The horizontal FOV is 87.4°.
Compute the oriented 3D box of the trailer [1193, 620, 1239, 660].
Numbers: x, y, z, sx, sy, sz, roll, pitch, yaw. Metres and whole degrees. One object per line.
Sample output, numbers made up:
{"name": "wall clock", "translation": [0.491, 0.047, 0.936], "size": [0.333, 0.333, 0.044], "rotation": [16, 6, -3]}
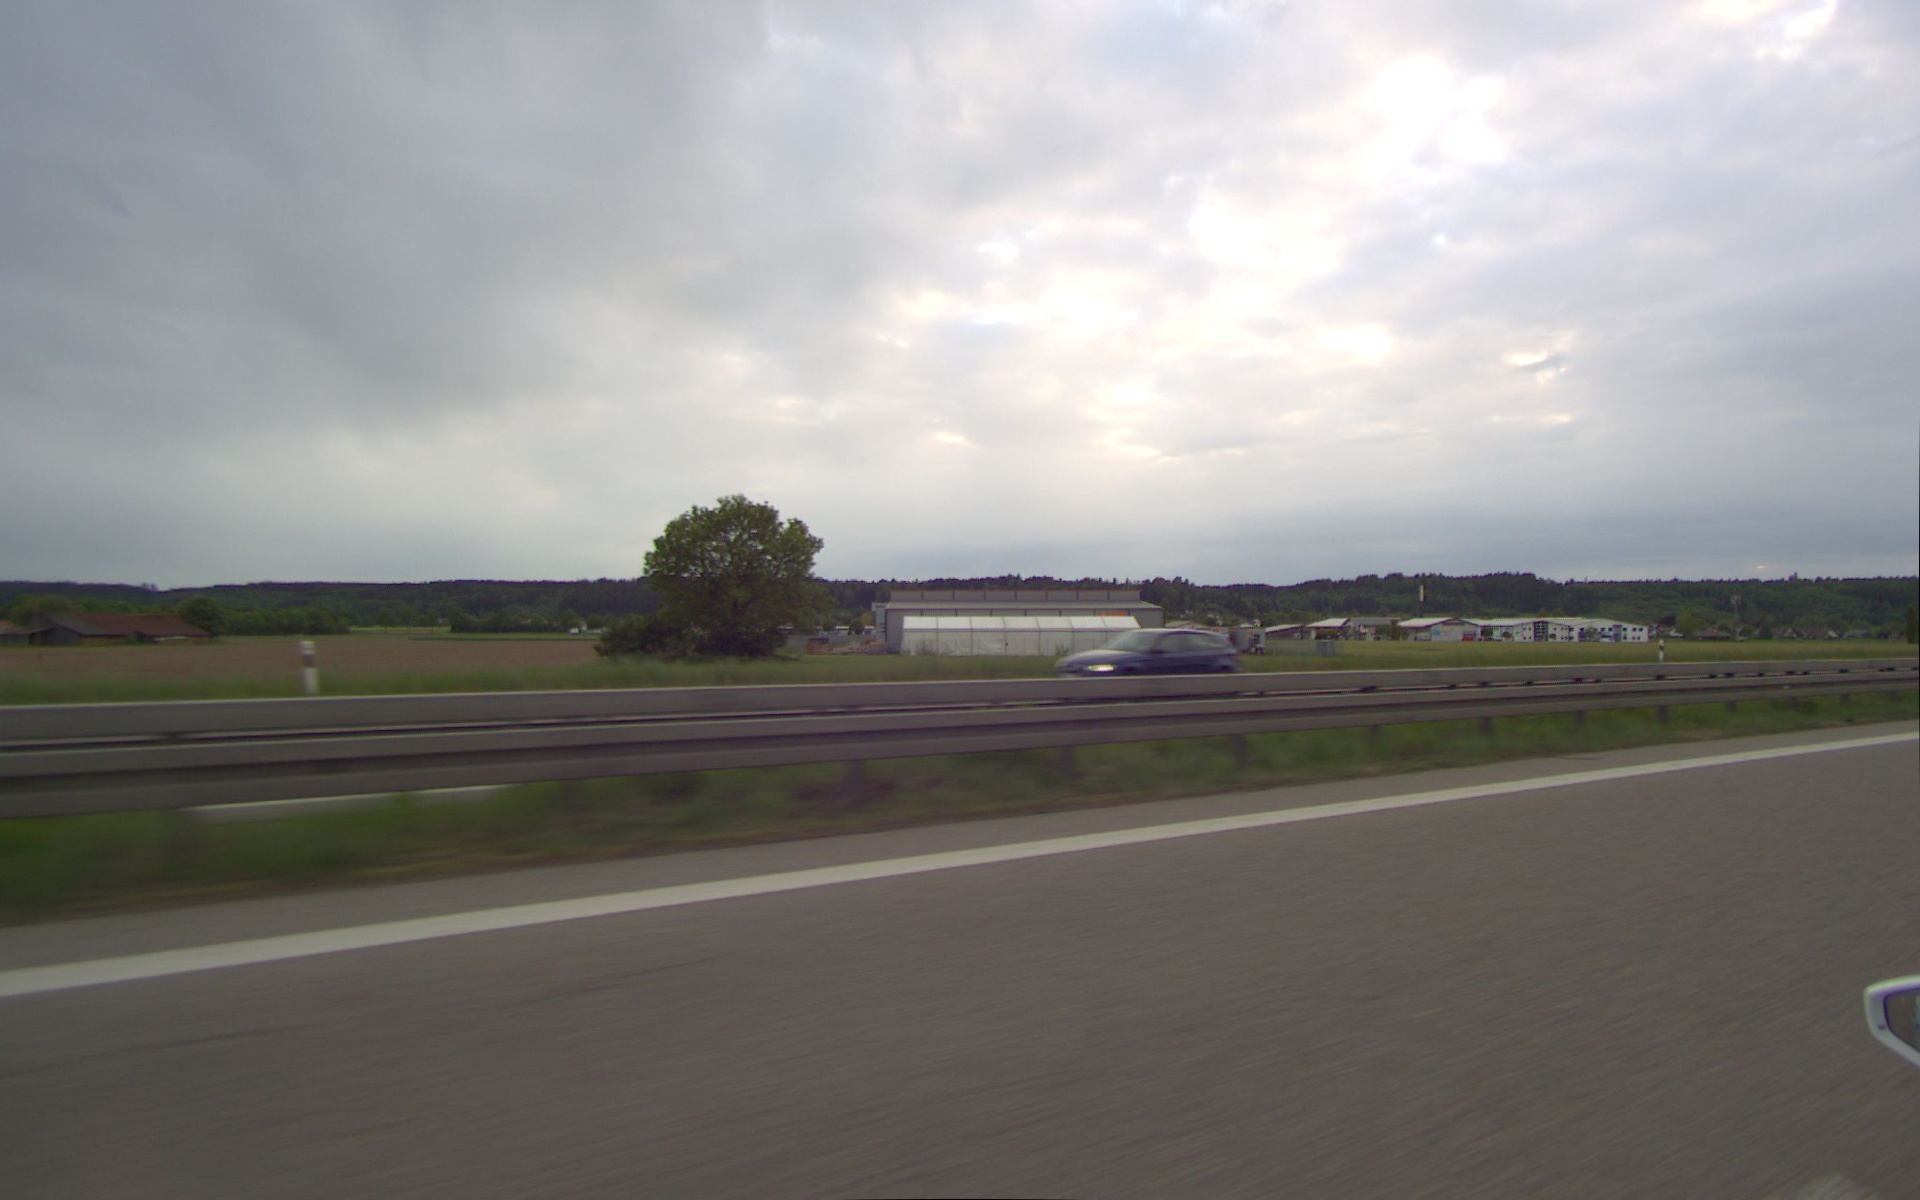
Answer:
{"name": "trailer", "translation": [35.351, 5.594, 139.168], "size": [3.681, 5.329, 10.084], "rotation": [1, -3, -1]}

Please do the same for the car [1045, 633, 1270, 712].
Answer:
{"name": "car", "translation": [4.207, 1.465, 21.198], "size": [4.471, 1.435, 1.984], "rotation": [2, 0, -30]}

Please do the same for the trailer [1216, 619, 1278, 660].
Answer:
{"name": "trailer", "translation": [39.230, 5.533, 138.073], "size": [3.499, 5.202, 17.039], "rotation": [1, -3, -1]}
